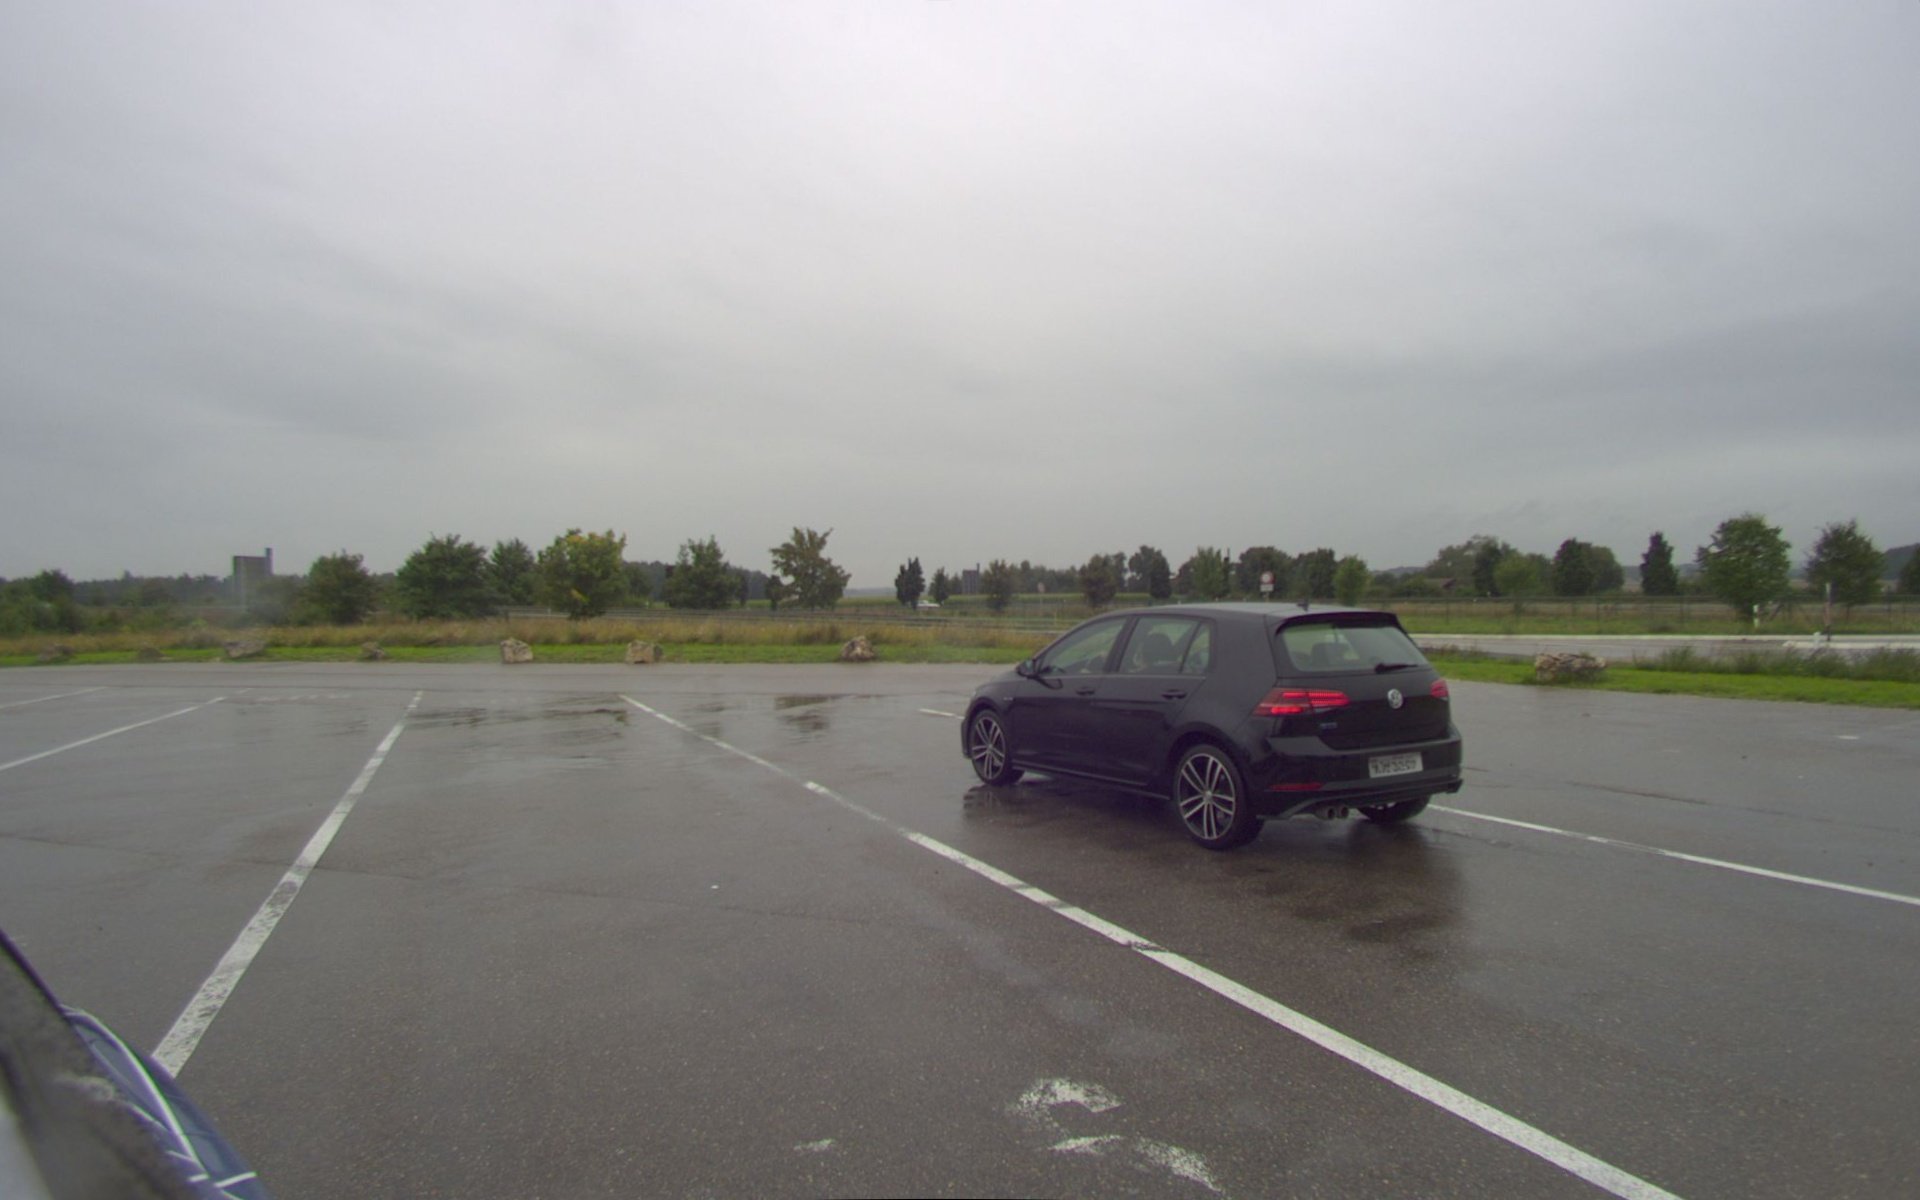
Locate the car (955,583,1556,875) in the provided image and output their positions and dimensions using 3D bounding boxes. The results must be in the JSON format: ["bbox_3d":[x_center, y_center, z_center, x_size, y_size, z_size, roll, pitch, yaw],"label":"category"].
[{"bbox_3d":[1.705,0.670,7.259,1.749,1.444,4.091,-1,-1,-28],"label":"car"}]
